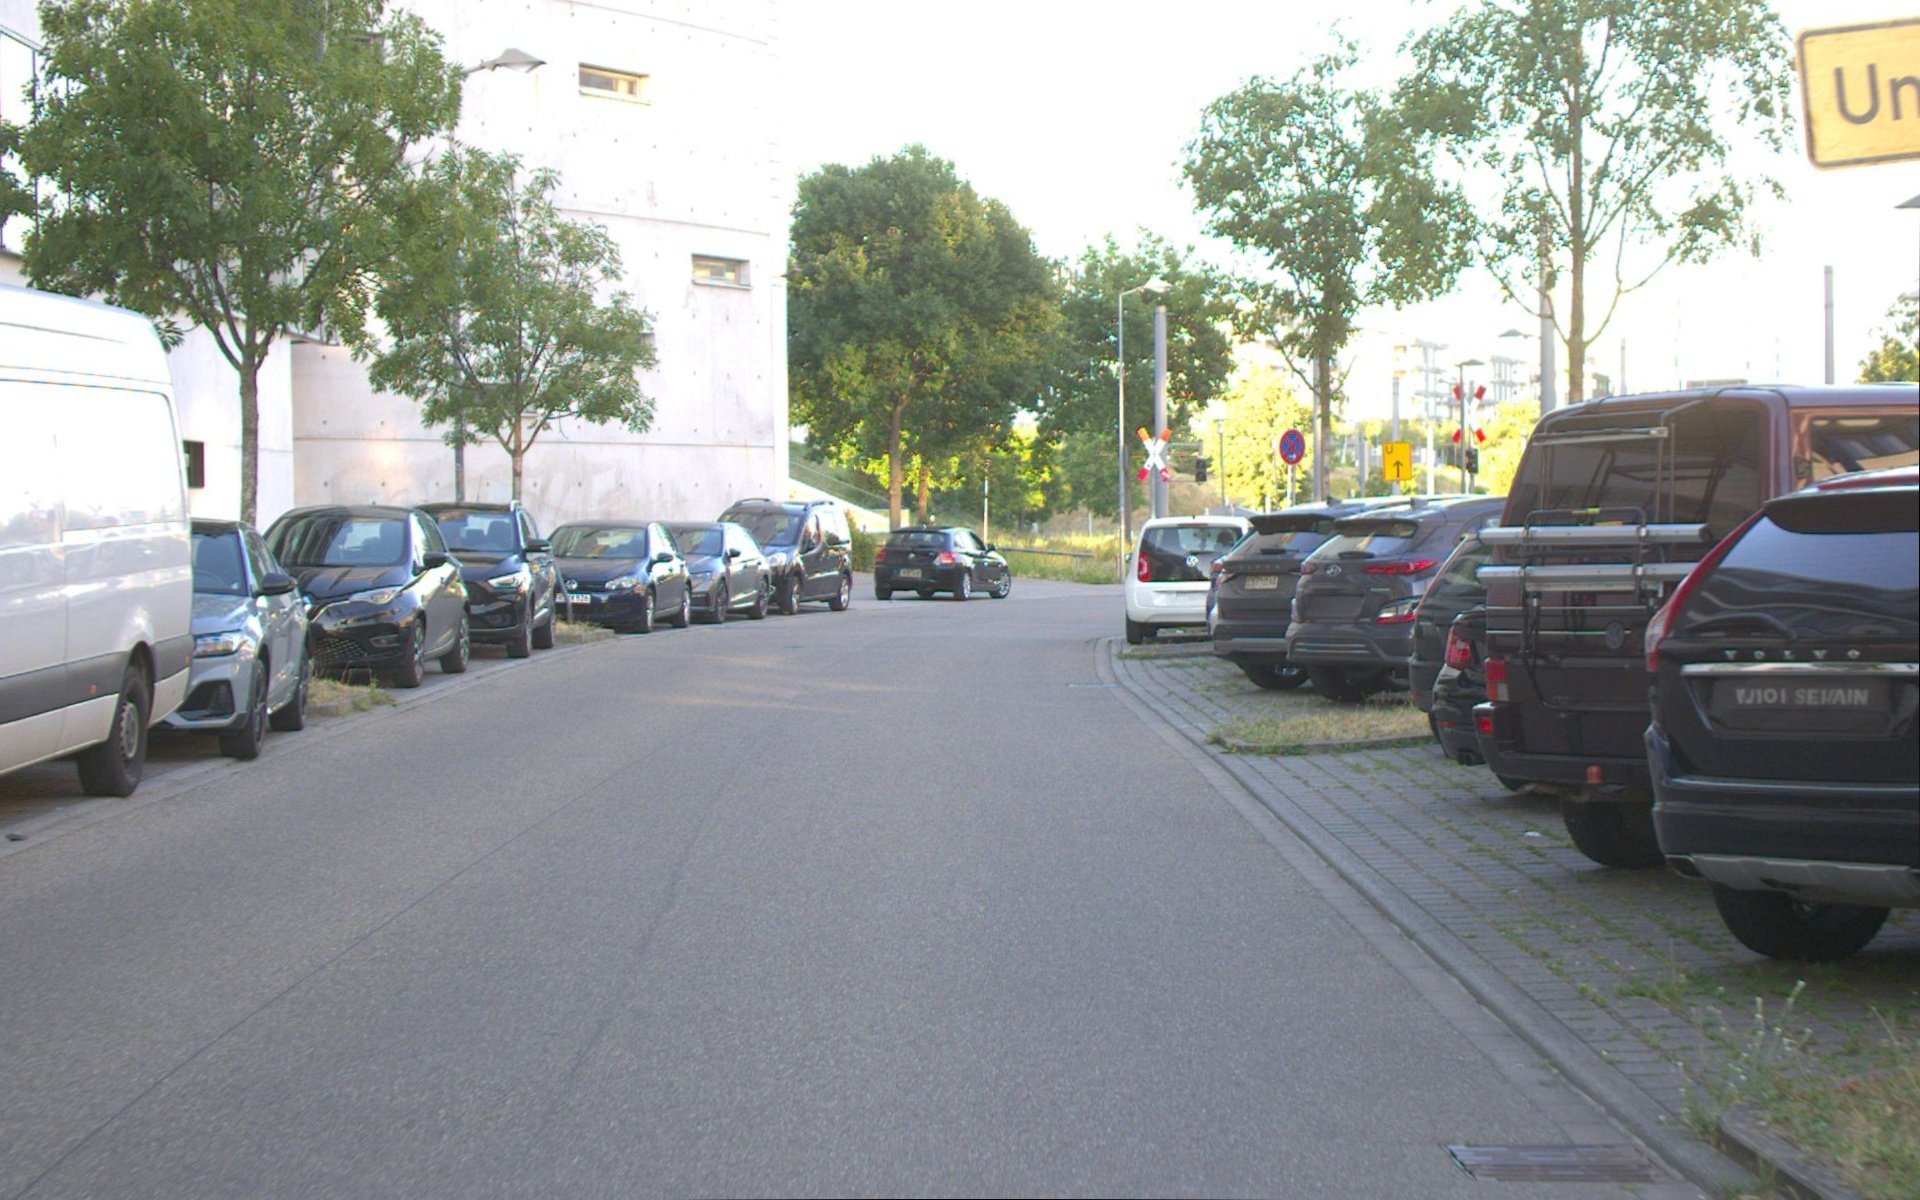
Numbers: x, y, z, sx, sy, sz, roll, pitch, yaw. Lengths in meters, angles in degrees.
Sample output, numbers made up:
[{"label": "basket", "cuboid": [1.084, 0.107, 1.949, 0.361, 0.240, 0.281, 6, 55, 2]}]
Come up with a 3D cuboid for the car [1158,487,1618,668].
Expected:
[{"label": "car", "cuboid": [4.092, -0.249, 32.773, 3.920, 1.504, 1.957, -3, 2, -30]}]

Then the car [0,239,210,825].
[{"label": "car", "cuboid": [-5.245, -0.346, 15.989, 1.958, 2.608, 6.893, 2, 2, 0]}]

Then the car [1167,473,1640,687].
[{"label": "car", "cuboid": [3.855, -0.197, 29.750, 3.767, 1.720, 1.764, 0, 2, -33]}]

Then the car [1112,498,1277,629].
[{"label": "car", "cuboid": [2.854, -0.465, 41.204, 1.723, 1.462, 3.552, -1, 2, 8]}]

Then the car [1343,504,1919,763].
[{"label": "car", "cuboid": [4.389, 0.160, 21.333, 3.767, 1.437, 1.763, 0, 3, -36]}]

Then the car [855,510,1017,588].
[{"label": "car", "cuboid": [-0.417, -1.014, 66.377, 1.945, 1.378, 4.396, 2, 2, 16]}]

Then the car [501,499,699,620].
[{"label": "car", "cuboid": [-4.700, -0.572, 45.471, 1.723, 1.452, 4.271, 2, 2, 6]}]

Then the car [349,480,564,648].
[{"label": "car", "cuboid": [-5.324, -0.430, 36.781, 1.756, 1.647, 3.949, 2, 2, -1]}]

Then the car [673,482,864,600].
[{"label": "car", "cuboid": [-3.057, -0.989, 55.925, 1.758, 1.792, 4.460, 2, 2, 15]}]

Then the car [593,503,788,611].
[{"label": "car", "cuboid": [-3.935, -0.671, 50.931, 1.723, 1.452, 4.692, 2, 2, 10]}]

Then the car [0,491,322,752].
[{"label": "car", "cuboid": [-5.141, 0.067, 21.806, 1.755, 1.434, 3.902, 1, 2, -5]}]

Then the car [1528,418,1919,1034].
[{"label": "car", "cuboid": [4.268, 0.320, 11.535, 4.588, 1.743, 1.871, 0, 2, -34]}]

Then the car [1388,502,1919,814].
[{"label": "car", "cuboid": [4.232, 0.247, 18.172, 3.767, 1.460, 1.639, 0, 3, -36]}]

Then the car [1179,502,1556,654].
[{"label": "car", "cuboid": [4.320, -0.251, 36.308, 3.742, 1.504, 1.688, 0, 3, -35]}]

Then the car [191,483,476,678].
[{"label": "car", "cuboid": [-5.459, -0.230, 30.402, 1.756, 1.555, 4.043, 2, 2, 0]}]

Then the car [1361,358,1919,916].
[{"label": "car", "cuboid": [4.084, 0.087, 14.527, 4.588, 2.028, 1.871, 0, 2, -34]}]

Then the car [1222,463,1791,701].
[{"label": "car", "cuboid": [4.303, -0.171, 27.029, 3.973, 1.634, 1.973, -3, 2, -28]}]
